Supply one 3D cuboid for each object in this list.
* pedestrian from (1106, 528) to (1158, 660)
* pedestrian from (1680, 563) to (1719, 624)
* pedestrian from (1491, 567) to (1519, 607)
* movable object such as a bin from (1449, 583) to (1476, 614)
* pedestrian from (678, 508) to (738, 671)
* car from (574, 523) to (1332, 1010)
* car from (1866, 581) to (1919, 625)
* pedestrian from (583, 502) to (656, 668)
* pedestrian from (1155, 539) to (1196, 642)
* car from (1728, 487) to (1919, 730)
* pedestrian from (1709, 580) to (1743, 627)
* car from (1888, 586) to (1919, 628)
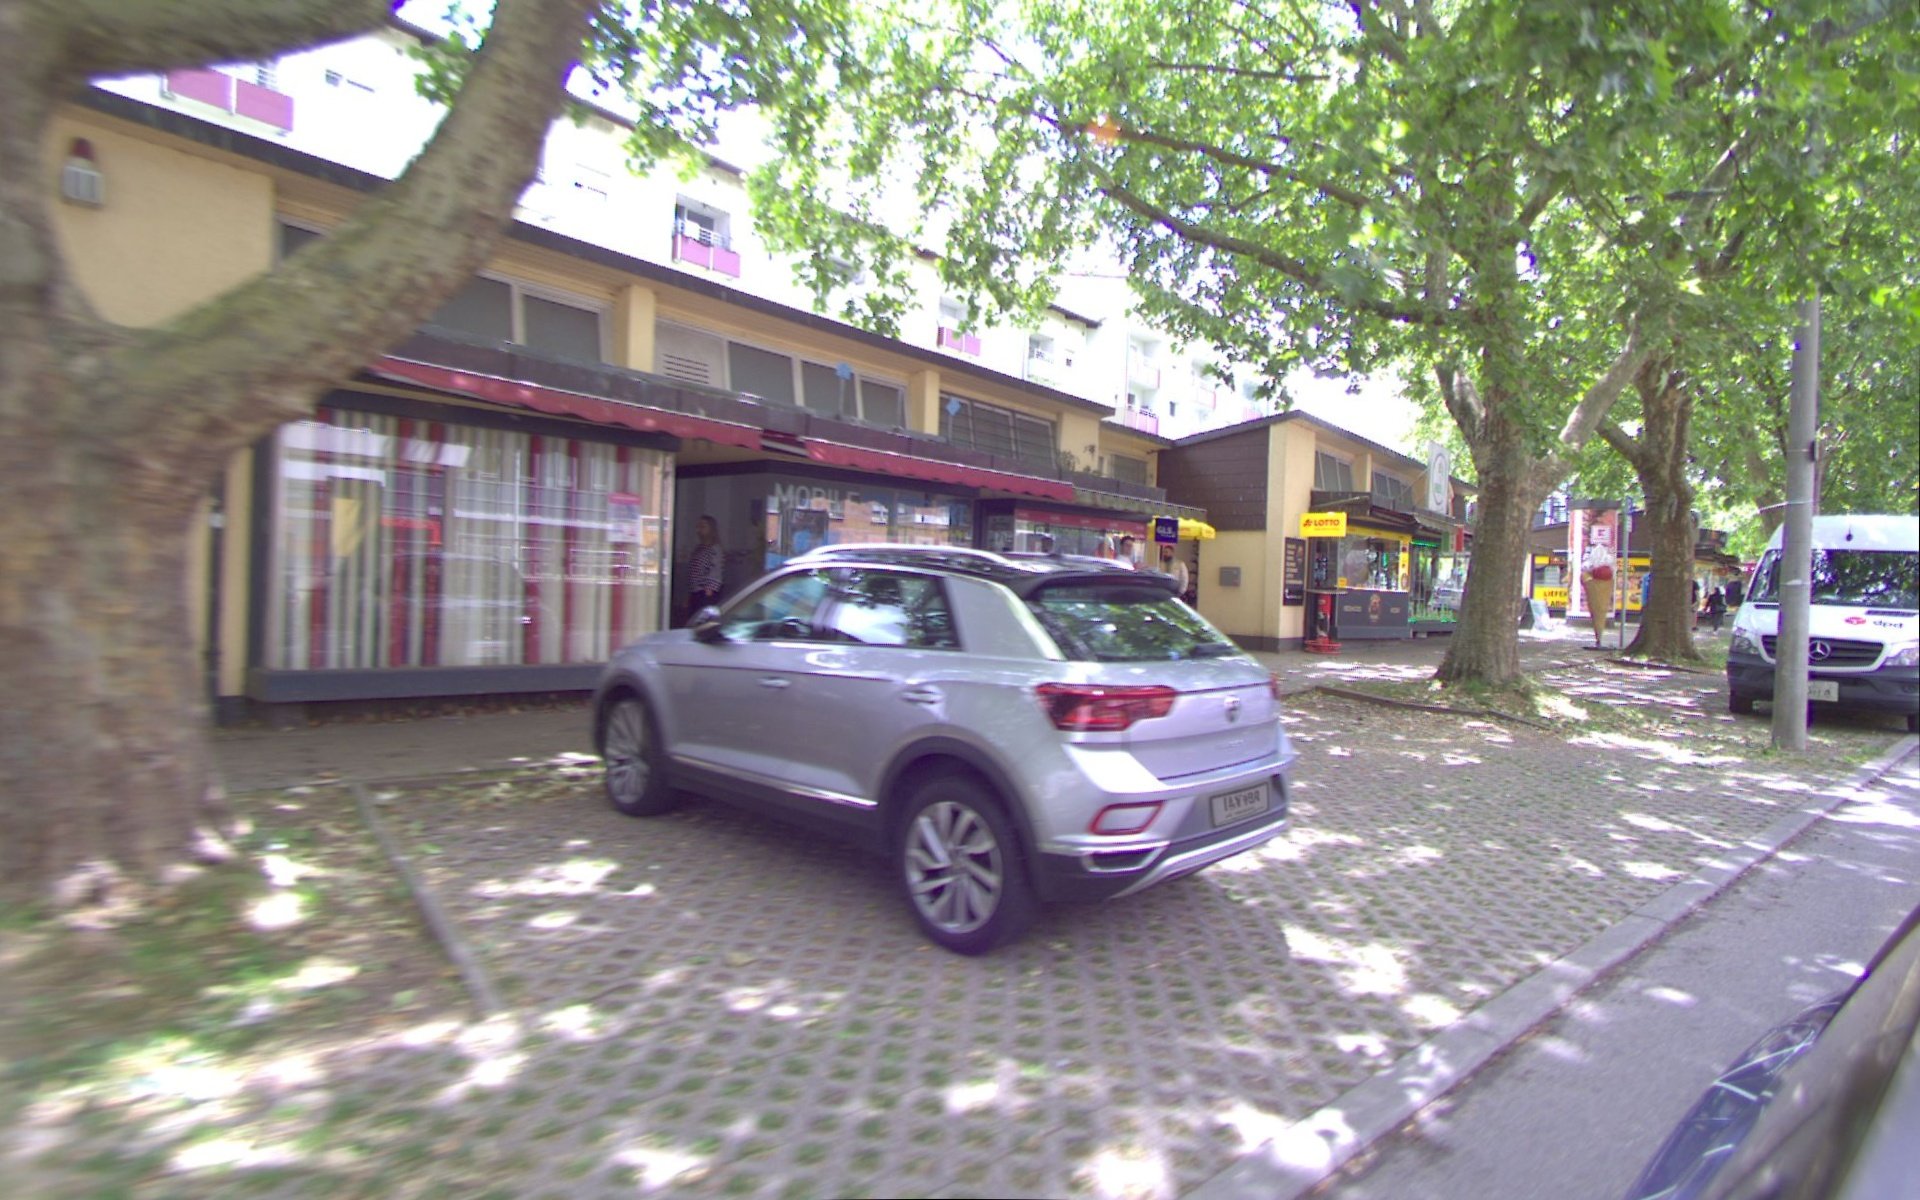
[{"bbox_3d":[2.461,-0.099,14.555,0.595,1.823,0.925,1,2,4],"label":"pedestrian"},{"bbox_3d":[24.021,-0.211,32.861,0.925,1.906,0.745,0,4,-41],"label":"pedestrian"},{"bbox_3d":[21.395,-0.512,39.748,0.750,1.554,0.894,2,1,42],"label":"pedestrian"},{"bbox_3d":[16.946,-0.062,34.107,0.637,1.029,0.624,0,2,-44],"label":"movable object such as a bin"},{"bbox_3d":[-2.752,-0.122,11.035,0.544,1.725,0.367,3,2,43],"label":"pedestrian"},{"bbox_3d":[-0.319,0.440,5.185,3.830,1.581,1.594,4,3,43],"label":"car"},{"bbox_3d":[36.242,0.172,37.801,1.584,1.532,3.412,0,5,-44],"label":"car"},{"bbox_3d":[-3.766,-0.170,11.212,0.372,1.780,0.644,2,1,41],"label":"pedestrian"},{"bbox_3d":[3.850,-0.173,18.085,0.516,1.816,0.527,1,1,39],"label":"pedestrian"},{"bbox_3d":[12.446,0.051,13.620,6.714,2.612,1.909,0,3,-41],"label":"car"},{"bbox_3d":[24.121,0.105,31.870,1.010,1.465,0.626,1,1,-41],"label":"pedestrian"},{"bbox_3d":[39.849,0.355,40.278,1.699,1.631,4.042,0,3,-37],"label":"car"}]
